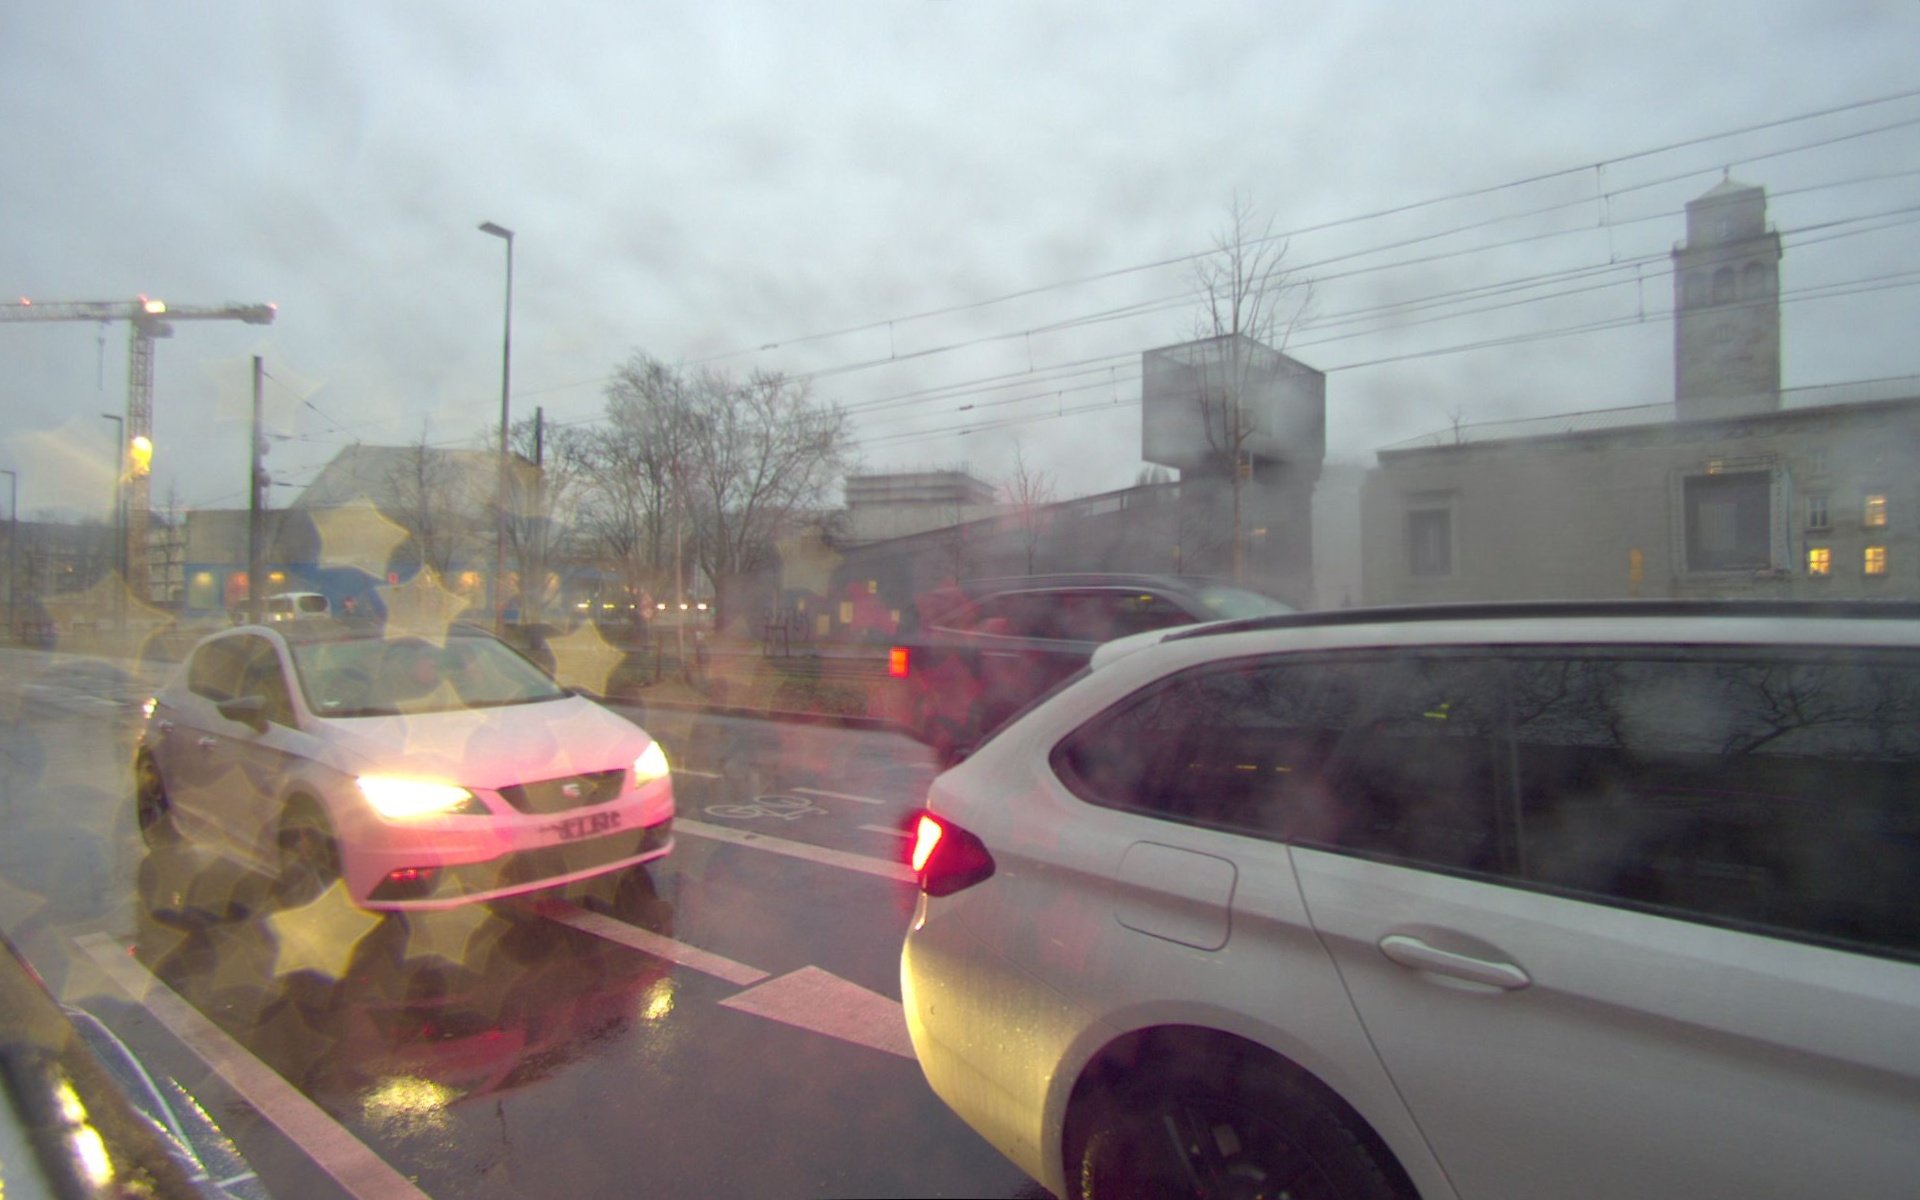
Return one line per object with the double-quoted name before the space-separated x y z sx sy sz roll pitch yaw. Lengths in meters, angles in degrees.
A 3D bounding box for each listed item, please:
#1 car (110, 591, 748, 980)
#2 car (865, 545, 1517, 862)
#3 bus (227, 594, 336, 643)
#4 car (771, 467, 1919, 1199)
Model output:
"car" -3.253 0.739 5.852 4.124 1.486 1.757 -1 -1 38
"car" 1.508 0.617 7.739 4.607 1.756 1.686 -1 -2 39
"bus" -53.073 1.454 78.987 12.277 3.605 2.783 -1 -2 35
"car" 2.010 0.622 1.694 4.919 1.532 1.890 -1 -2 40
